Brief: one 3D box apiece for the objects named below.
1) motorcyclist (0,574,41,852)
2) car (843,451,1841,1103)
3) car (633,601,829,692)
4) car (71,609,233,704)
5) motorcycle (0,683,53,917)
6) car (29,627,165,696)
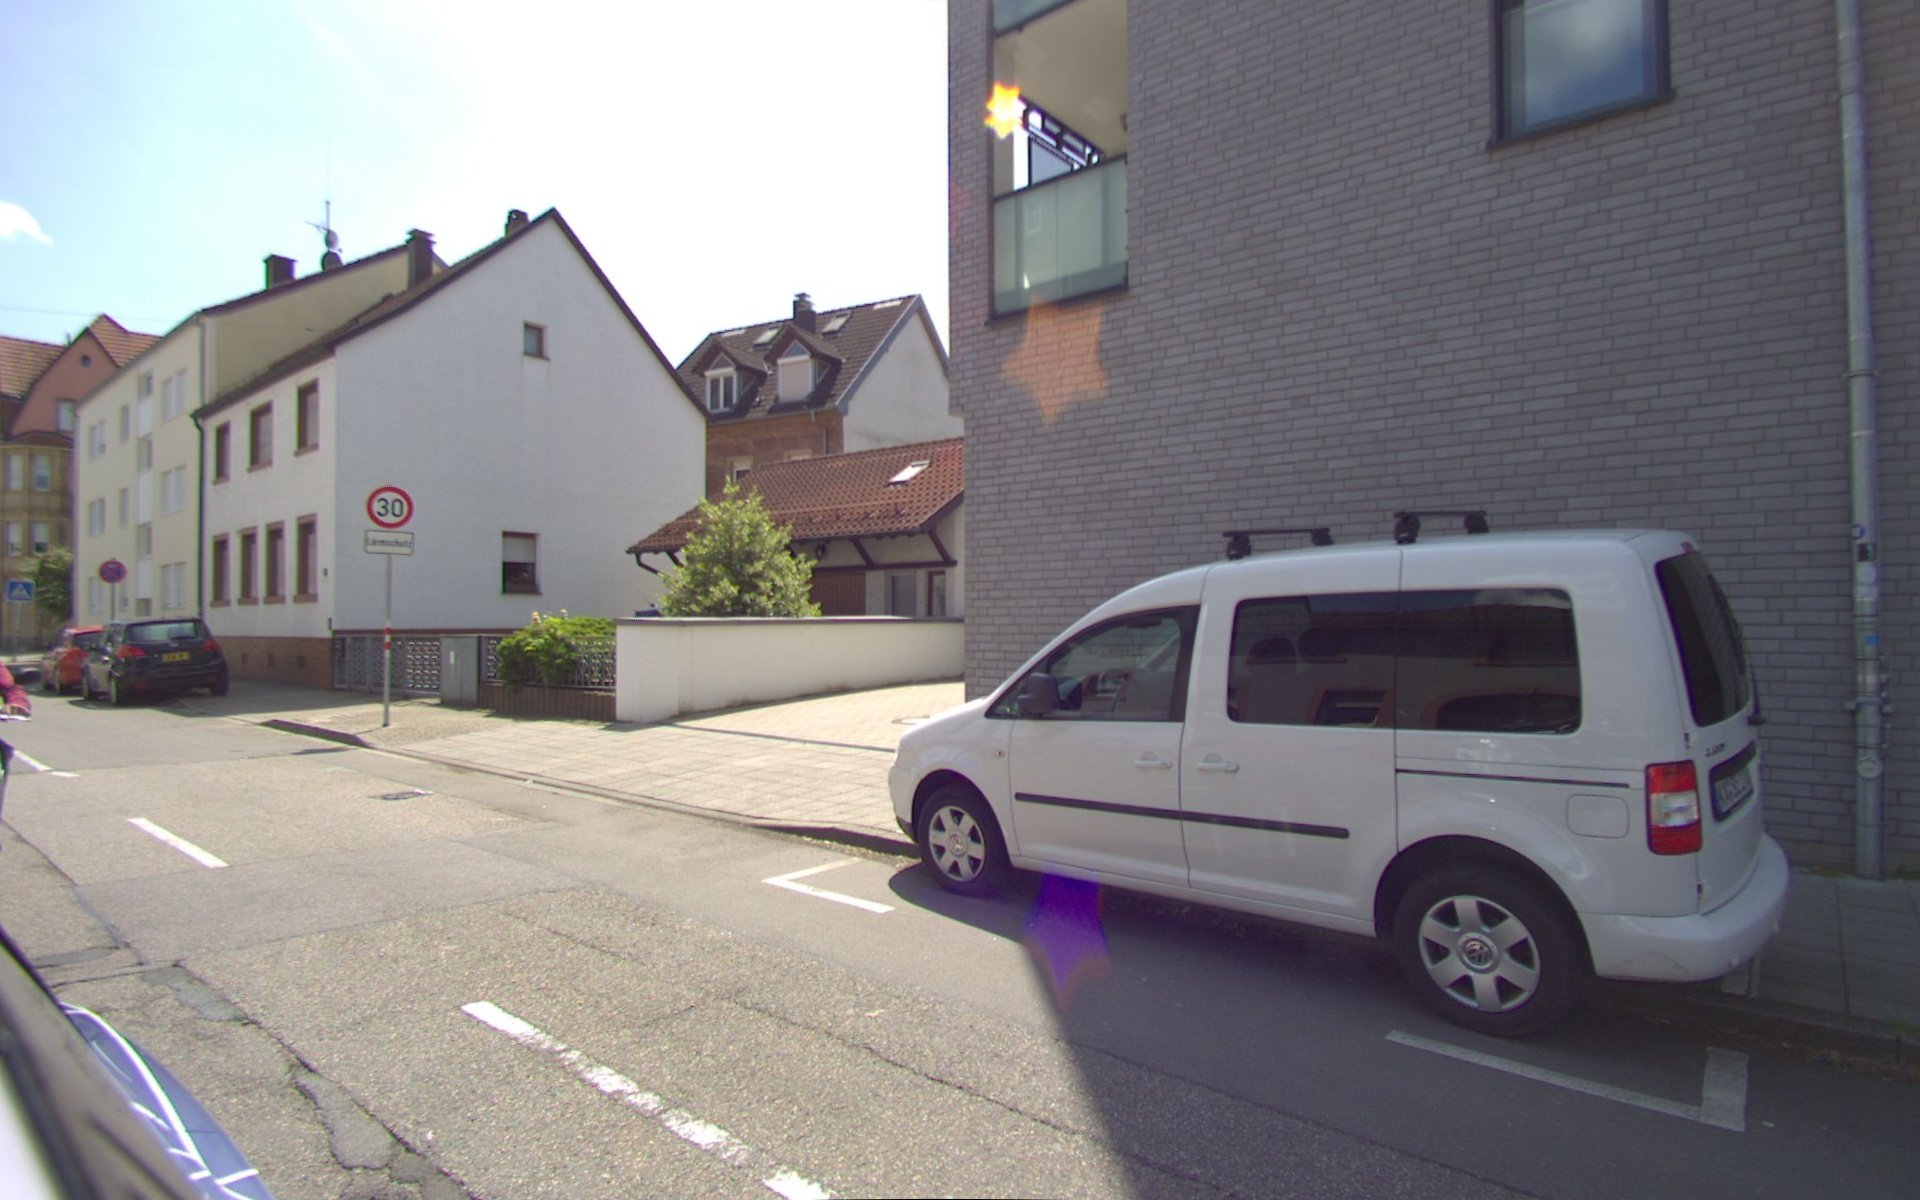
[{"bbox_3d":[-5.553,0.603,5.445,1.020,1.451,0.783,-2,-1,40],"label":"motorcyclist"},{"bbox_3d":[1.499,0.542,5.095,4.337,1.906,1.738,-2,0,44],"label":"car"},{"bbox_3d":[-4.303,0.850,19.436,3.508,1.551,1.641,-2,0,-7],"label":"car"},{"bbox_3d":[-15.854,1.029,19.800,3.942,1.659,1.776,-1,-1,40],"label":"car"},{"bbox_3d":[-5.500,1.022,5.386,1.990,1.063,0.750,-2,-1,40],"label":"motorcycle"},{"bbox_3d":[-19.732,1.330,23.072,4.288,1.427,1.814,-1,-2,42],"label":"car"}]
